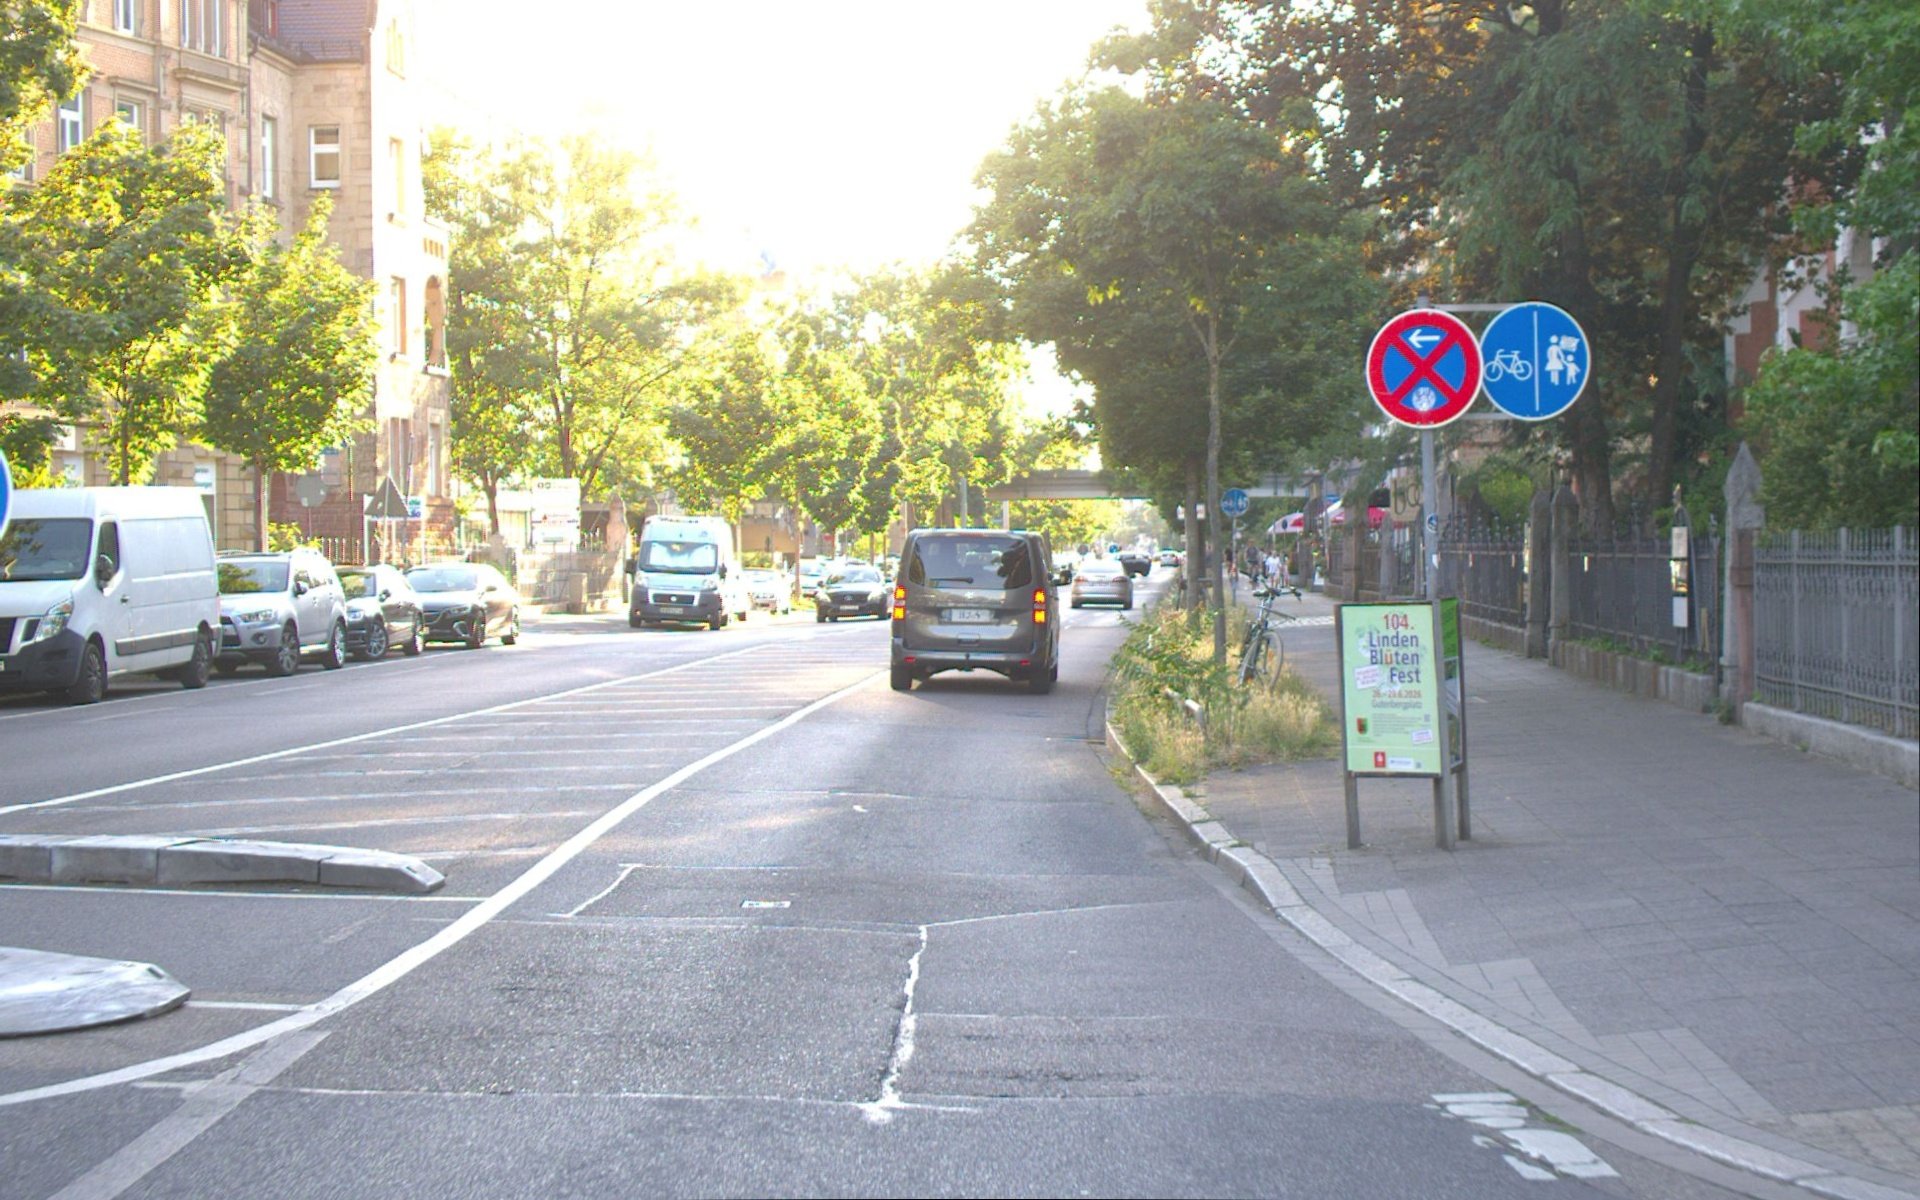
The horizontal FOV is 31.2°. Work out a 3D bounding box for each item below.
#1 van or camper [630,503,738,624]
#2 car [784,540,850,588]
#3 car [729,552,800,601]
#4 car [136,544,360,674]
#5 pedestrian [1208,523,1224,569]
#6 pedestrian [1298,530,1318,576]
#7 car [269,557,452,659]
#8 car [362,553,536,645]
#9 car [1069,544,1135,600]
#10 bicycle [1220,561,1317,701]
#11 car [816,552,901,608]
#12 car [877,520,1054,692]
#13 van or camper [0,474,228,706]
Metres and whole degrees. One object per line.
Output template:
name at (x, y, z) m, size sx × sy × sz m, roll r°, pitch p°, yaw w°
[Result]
van or camper at (-6.350, -0.881, 79.792) m, size 1.993 × 2.659 × 6.039 m, roll 1°, pitch 1°, yaw 0°
car at (-4.503, -1.151, 109.017) m, size 1.697 × 1.446 × 4.000 m, roll 1°, pitch 1°, yaw 3°
car at (-5.338, -0.661, 94.060) m, size 1.536 × 1.244 × 3.614 m, roll 1°, pitch 1°, yaw 3°
car at (-9.715, 0.084, 47.263) m, size 1.866 × 1.639 × 4.571 m, roll -1°, pitch 1°, yaw 3°
pedestrian at (10.554, -2.217, 141.864) m, size 0.504 × 1.882 × 0.545 m, roll 1°, pitch 1°, yaw -11°
pedestrian at (12.281, -1.659, 121.426) m, size 0.644 × 1.627 × 0.656 m, roll 1°, pitch 1°, yaw 4°
car at (-9.156, 0.092, 52.830) m, size 1.736 × 1.440 × 4.625 m, roll 0°, pitch 1°, yaw 3°
car at (-8.735, -0.045, 59.148) m, size 1.994 × 1.478 × 4.829 m, roll 0°, pitch 1°, yaw 4°
car at (4.369, -0.879, 105.941) m, size 1.994 × 1.628 × 4.000 m, roll 0°, pitch 1°, yaw 2°
bicycle at (2.712, 0.253, 30.388) m, size 0.646 × 1.163 × 1.931 m, roll 1°, pitch 1°, yaw 0°
car at (-2.638, -0.540, 90.291) m, size 1.766 × 1.397 × 4.544 m, roll -1°, pitch 1°, yaw 4°
car at (0.119, 0.027, 40.999) m, size 1.887 × 1.918 × 3.839 m, roll -1°, pitch 1°, yaw 3°
van or camper at (-10.374, -0.161, 39.832) m, size 2.091 × 2.460 × 6.305 m, roll -1°, pitch 1°, yaw 3°
